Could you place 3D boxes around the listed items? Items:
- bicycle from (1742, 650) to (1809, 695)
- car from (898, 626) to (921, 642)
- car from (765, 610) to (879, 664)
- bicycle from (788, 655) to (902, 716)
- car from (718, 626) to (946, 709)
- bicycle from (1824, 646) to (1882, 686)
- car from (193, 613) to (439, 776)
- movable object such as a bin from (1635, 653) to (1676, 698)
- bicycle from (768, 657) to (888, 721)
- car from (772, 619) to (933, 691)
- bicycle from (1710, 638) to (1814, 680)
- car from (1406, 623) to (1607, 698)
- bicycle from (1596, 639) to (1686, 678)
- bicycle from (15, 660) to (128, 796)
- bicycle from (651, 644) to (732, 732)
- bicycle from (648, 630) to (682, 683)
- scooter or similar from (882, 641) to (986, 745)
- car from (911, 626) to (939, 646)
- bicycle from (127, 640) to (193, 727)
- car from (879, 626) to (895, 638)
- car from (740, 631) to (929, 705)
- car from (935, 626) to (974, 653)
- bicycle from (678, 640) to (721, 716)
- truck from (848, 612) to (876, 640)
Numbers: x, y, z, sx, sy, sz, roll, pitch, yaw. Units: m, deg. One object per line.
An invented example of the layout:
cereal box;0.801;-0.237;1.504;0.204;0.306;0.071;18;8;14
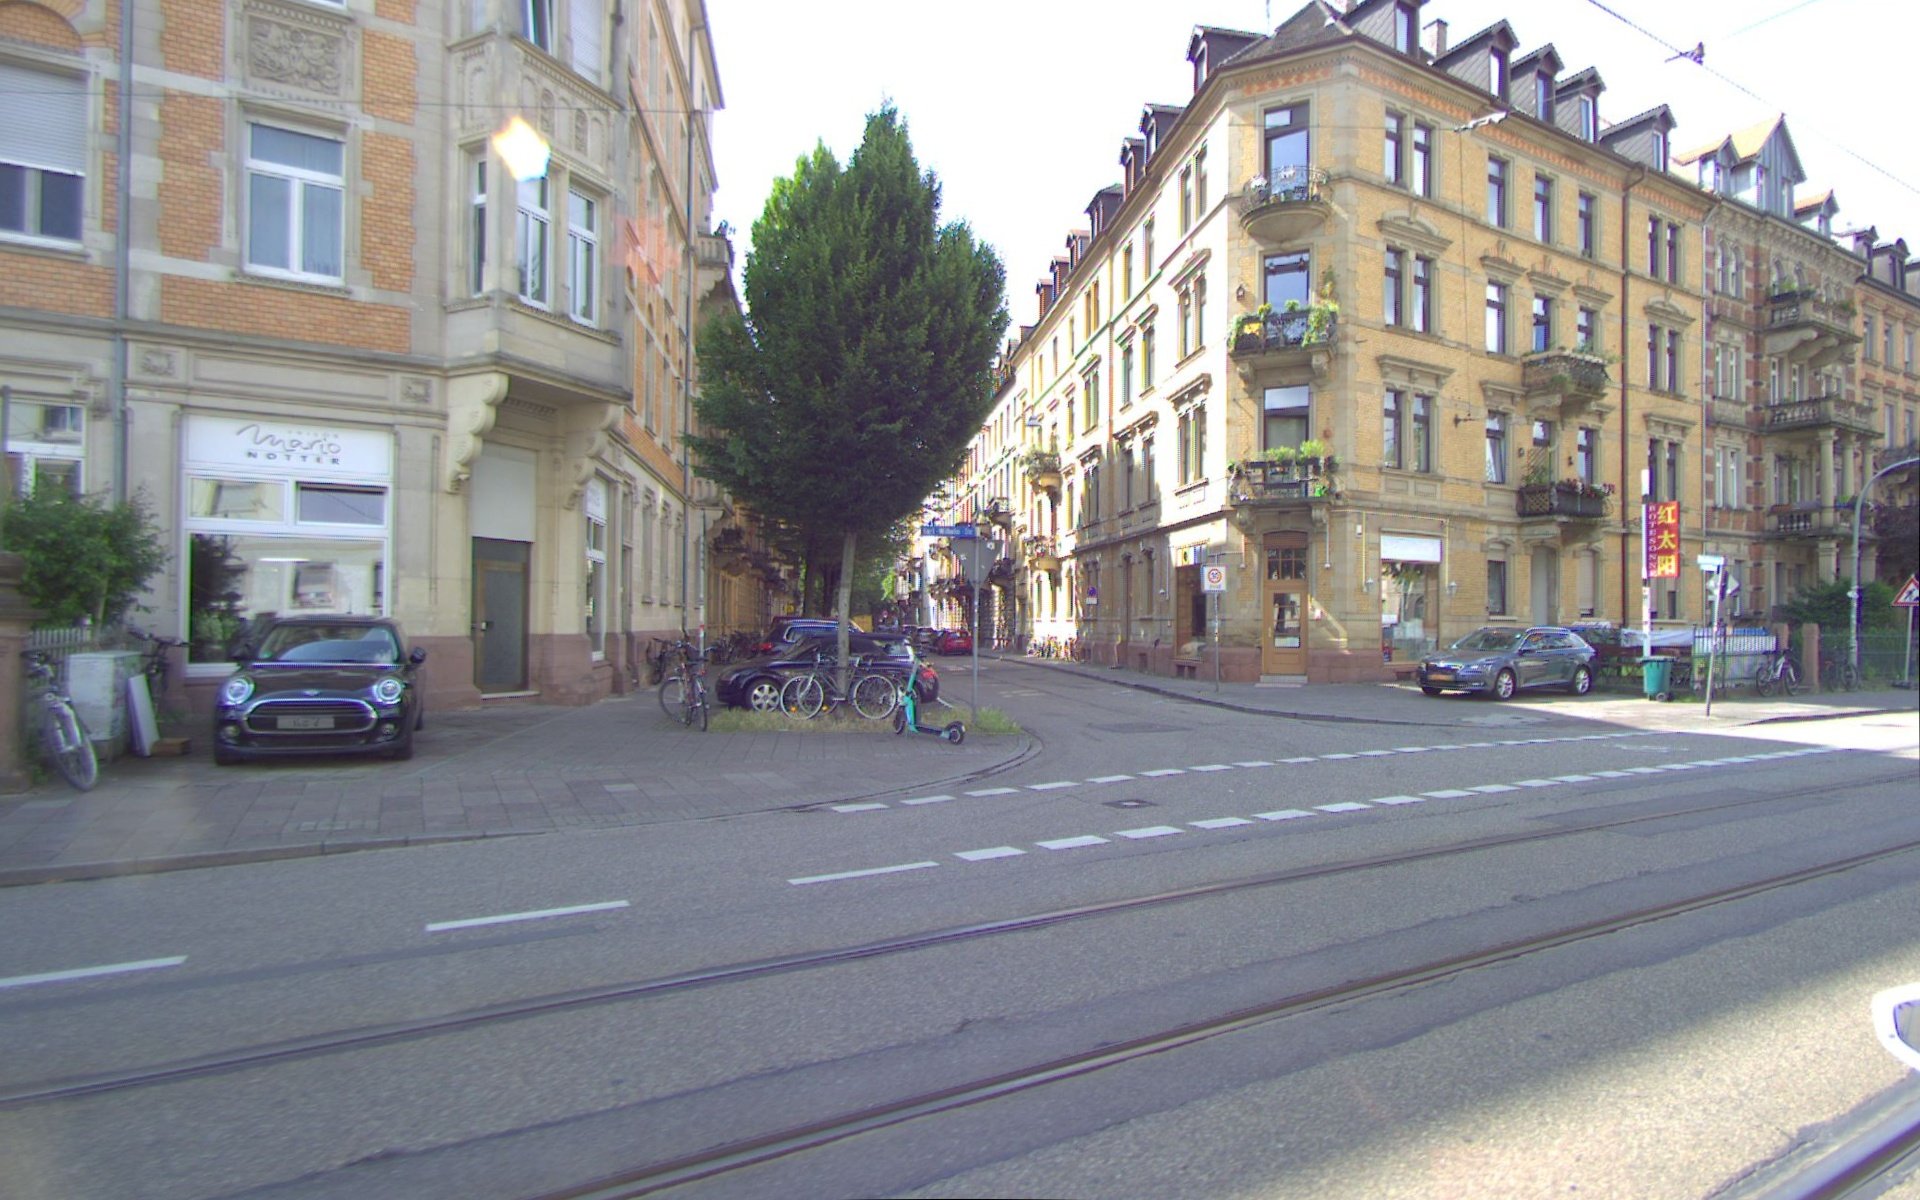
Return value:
bicycle;18.523;1.626;22.798;1.945;0.959;0.527;1;-2;-30
car;-4.505;3.009;88.999;1.731;1.442;3.995;0;-2;-8
car;-5.519;1.494;40.372;4.429;2.092;1.895;1;-1;-7
bicycle;-1.747;1.287;15.297;1.670;0.849;0.523;0;-1;-17
car;-2.281;1.157;17.909;3.857;1.378;1.641;0;-1;-11
bicycle;22.376;1.650;25.161;1.945;0.959;0.527;1;-2;-30
car;-6.762;0.870;10.926;1.763;1.421;3.592;1;-1;-25
movable object such as a bin;14.776;1.590;21.343;0.629;0.918;0.522;1;-2;-31
bicycle;-1.916;1.278;14.577;1.670;0.849;0.523;0;-1;-17
car;-2.713;1.388;25.488;3.926;1.744;1.618;1;-1;-7
bicycle;19.899;1.446;24.959;0.526;0.959;1.949;1;-2;-34
car;11.928;1.268;21.844;4.708;1.478;1.678;1;-2;-30
bicycle;17.978;1.531;26.571;0.525;0.959;1.953;1;-2;-29
bicycle;-7.412;1.021;8.428;0.399;0.989;1.446;1;-1;-29
bicycle;-3.697;1.167;13.735;0.519;1.077;1.742;0;-1;-34
bicycle;-7.210;1.355;24.638;0.614;1.225;2.177;0;-1;-12
scooter or similar;-0.354;1.191;13.145;1.342;1.251;0.403;1;-1;32
car;-2.626;2.668;75.019;1.731;1.442;3.995;0;-2;-8
bicycle;-9.881;1.004;12.438;0.399;0.989;1.446;1;-1;-29
car;-8.818;3.895;121.356;1.731;1.442;3.995;0;-2;-8
car;-2.560;1.371;20.730;3.717;1.434;1.643;0;-1;-7
car;-0.359;2.242;57.621;1.731;1.442;3.995;0;-2;-8
bicycle;-4.078;1.180;15.664;0.516;1.077;1.691;0;-1;-19
truck;-11.950;3.116;121.873;2.474;3.189;10.448;-2;-1;-10
